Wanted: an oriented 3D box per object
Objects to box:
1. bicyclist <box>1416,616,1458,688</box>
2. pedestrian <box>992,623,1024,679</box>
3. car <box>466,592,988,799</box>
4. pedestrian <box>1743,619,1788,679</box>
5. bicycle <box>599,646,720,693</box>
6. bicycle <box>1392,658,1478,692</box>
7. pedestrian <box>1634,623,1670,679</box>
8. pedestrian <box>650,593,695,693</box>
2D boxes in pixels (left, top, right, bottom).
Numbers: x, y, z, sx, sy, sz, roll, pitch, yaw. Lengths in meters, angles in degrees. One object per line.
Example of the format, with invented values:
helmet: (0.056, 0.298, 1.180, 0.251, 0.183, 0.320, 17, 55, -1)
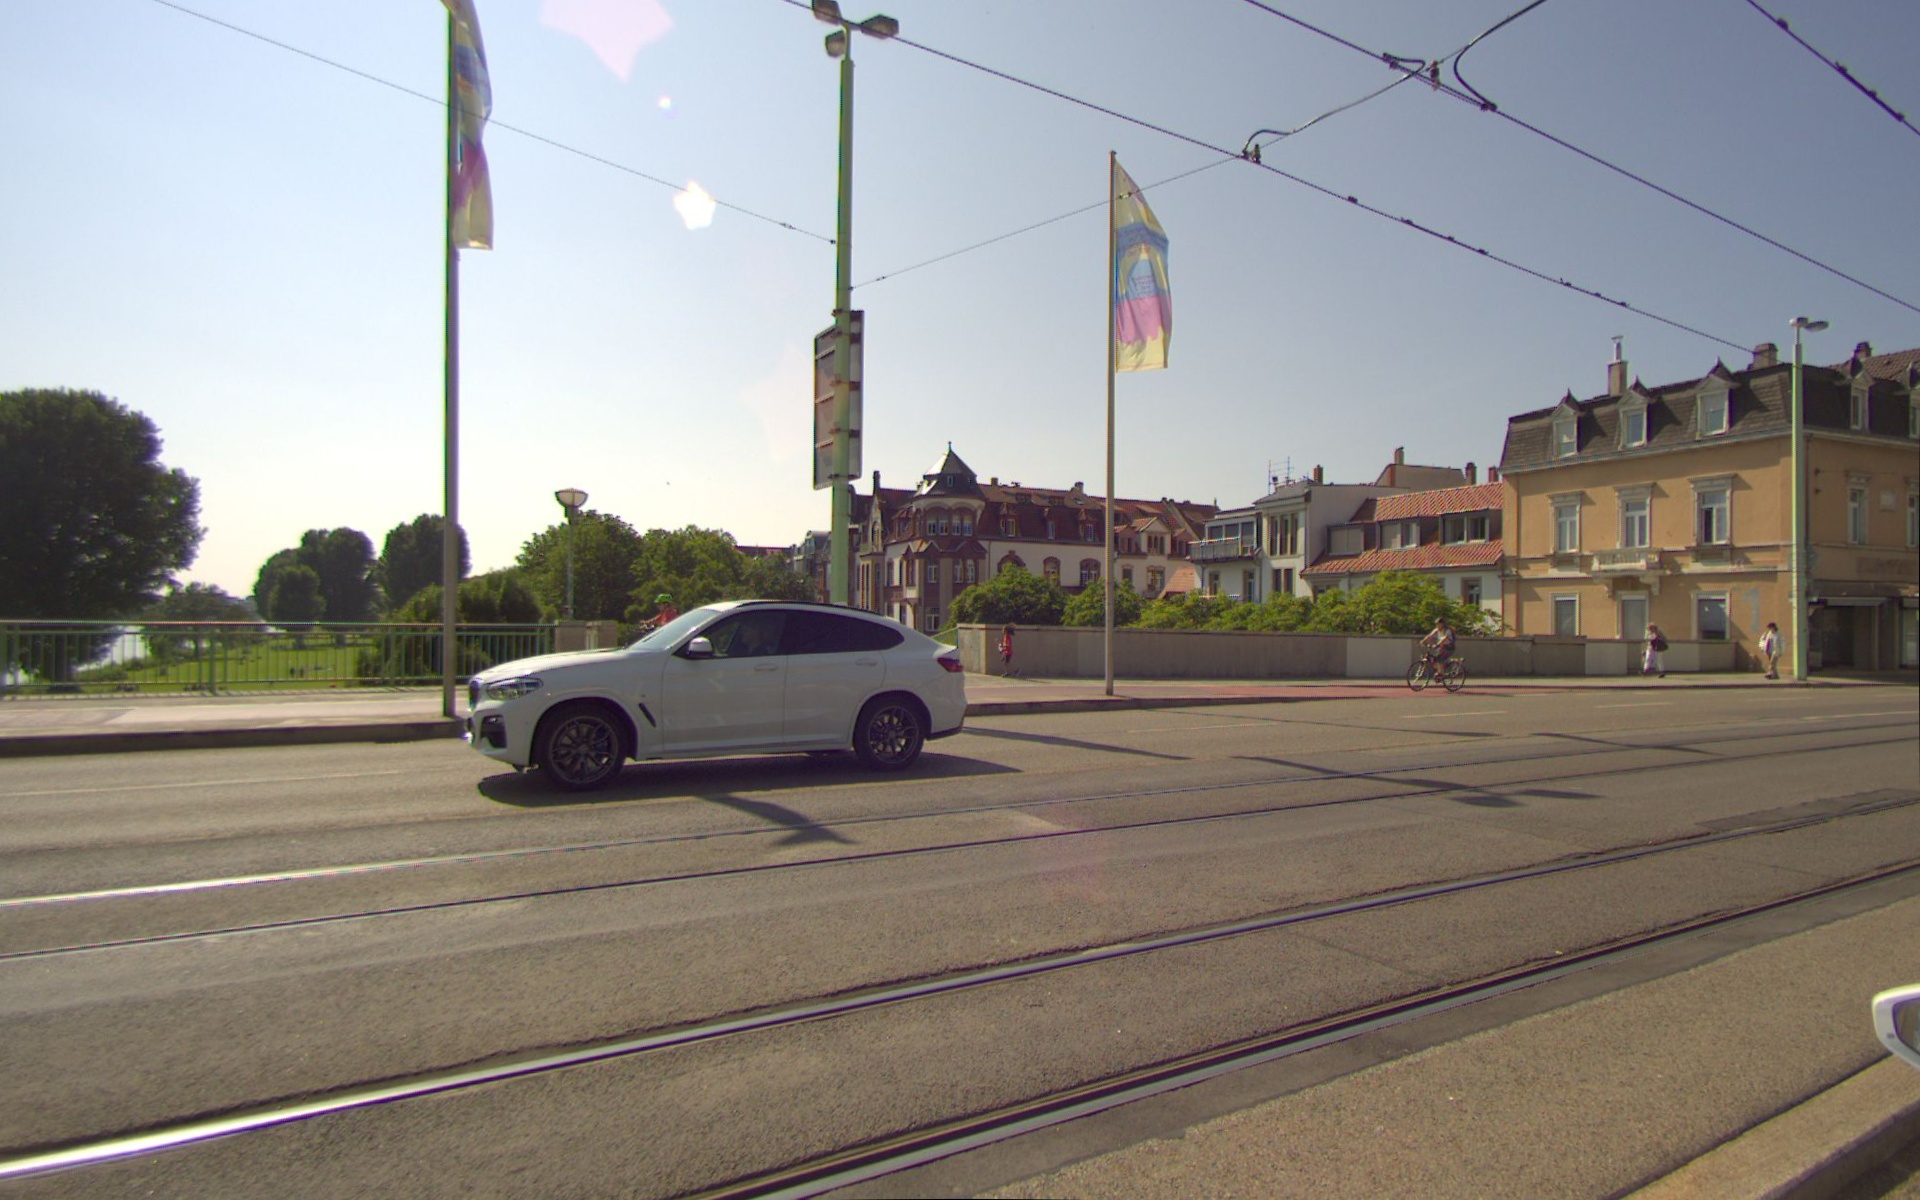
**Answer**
bicyclist: (11.434, 1.241, 24.071, 0.612, 1.672, 0.626, 1, 1, -21)
pedestrian: (1.037, 1.112, 21.820, 0.535, 1.161, 0.412, 2, 3, -14)
car: (-2.203, 0.814, 9.810, 4.596, 1.607, 1.985, 2, -1, -30)
pedestrian: (25.113, 1.519, 31.331, 0.777, 1.790, 0.733, 2, 3, -29)
bicycle: (-5.188, 1.187, 17.372, 1.912, 0.726, 0.617, 1, 1, -32)
bicycle: (11.382, 1.783, 24.057, 2.014, 0.726, 0.619, 1, 1, -21)
pedestrian: (21.221, 1.556, 30.811, 0.559, 1.624, 0.646, -1, 5, -29)
pedestrian: (-4.914, 0.728, 17.172, 0.620, 1.654, 0.410, 1, 1, -31)
